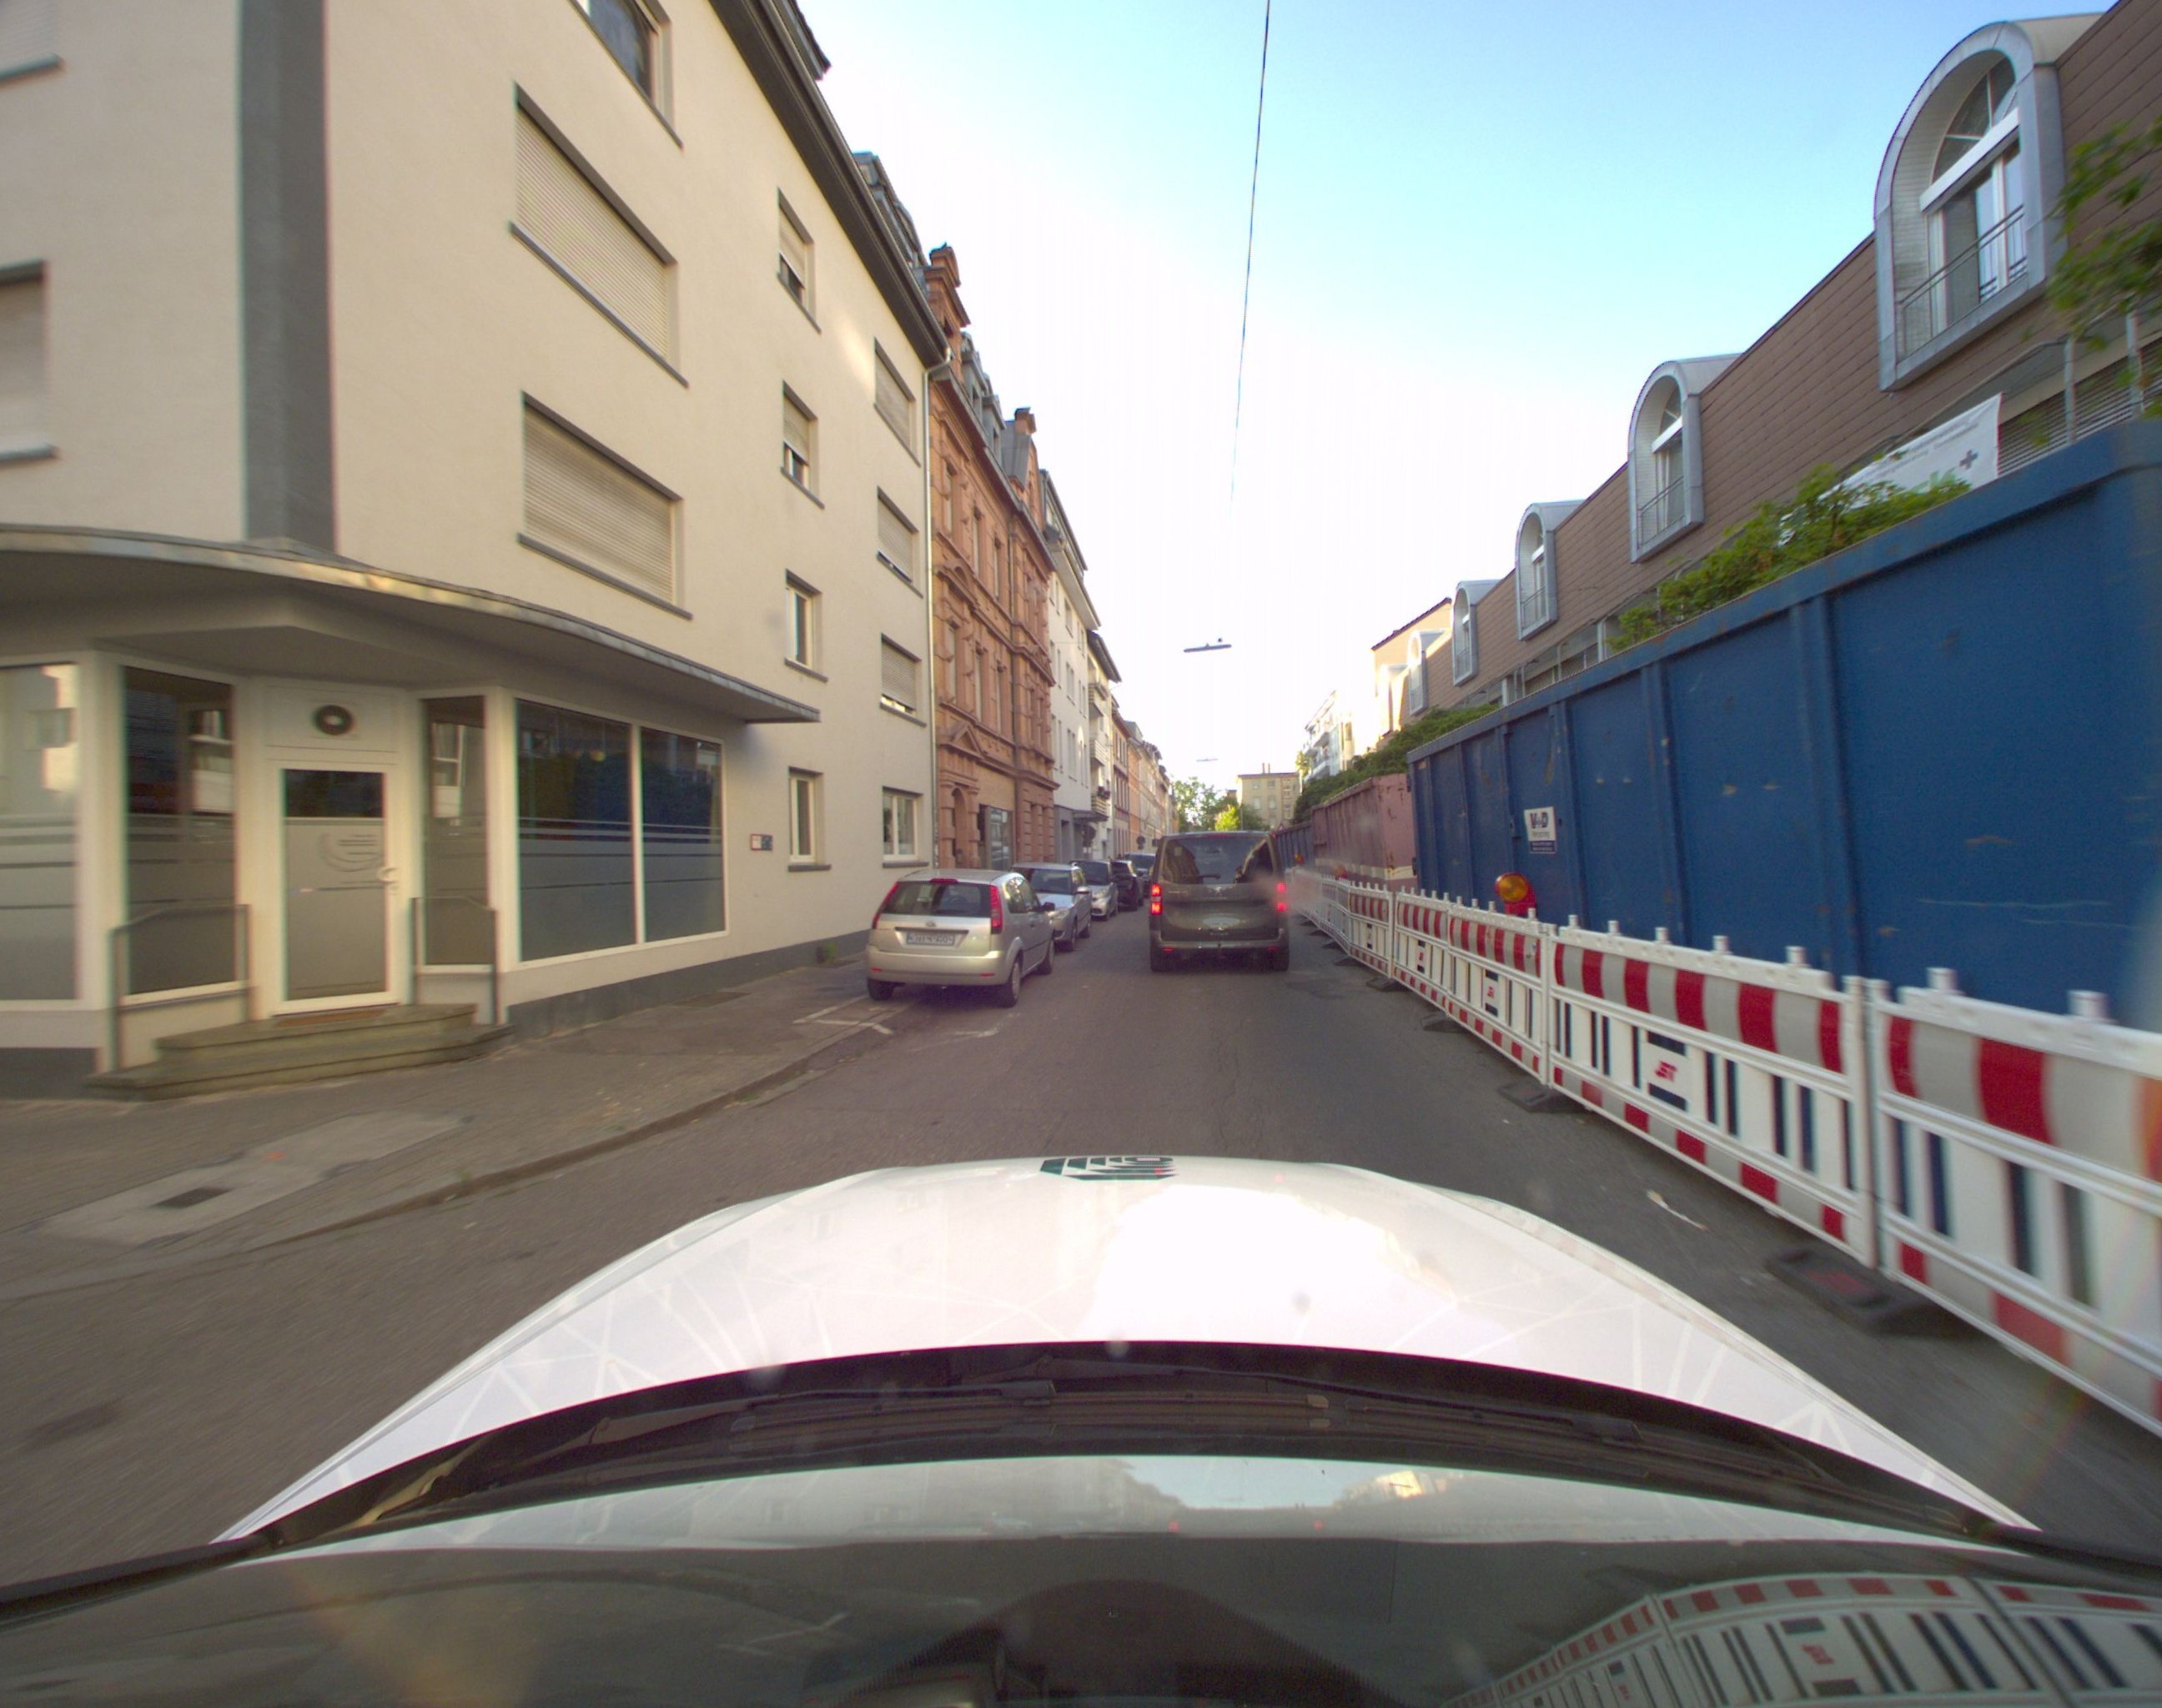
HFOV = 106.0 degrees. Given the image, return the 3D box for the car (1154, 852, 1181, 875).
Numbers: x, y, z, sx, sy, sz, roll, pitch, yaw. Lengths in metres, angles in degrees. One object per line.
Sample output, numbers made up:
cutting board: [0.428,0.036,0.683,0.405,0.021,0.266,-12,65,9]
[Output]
car: [5.879,0.609,54.900,1.648,1.448,3.293,2,0,8]

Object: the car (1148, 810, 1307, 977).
car: [2.123,0.493,12.243,1.847,2.013,4.009,-3,0,8]

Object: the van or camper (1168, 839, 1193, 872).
van or camper: [8.674,0.123,71.143,1.939,2.649,7.155,-3,0,7]

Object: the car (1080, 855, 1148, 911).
car: [1.129,0.860,26.063,1.730,1.599,4.024,-1,0,8]

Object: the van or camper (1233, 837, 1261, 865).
van or camper: [16.358,-0.288,80.473,2.088,2.602,7.528,-3,0,7]

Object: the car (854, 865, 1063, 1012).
car: [-1.310,0.897,10.172,1.623,1.430,3.563,-1,0,7]

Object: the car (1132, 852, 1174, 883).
car: [3.964,0.707,44.514,1.657,1.485,3.619,3,1,14]

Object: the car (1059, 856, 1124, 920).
car: [0.342,0.889,22.284,1.388,1.588,2.800,-2,0,8]

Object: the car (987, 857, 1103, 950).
car: [-0.570,0.848,15.651,1.546,1.508,3.606,1,0,8]

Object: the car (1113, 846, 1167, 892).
car: [2.626,0.593,35.169,1.982,1.858,4.595,-1,0,8]

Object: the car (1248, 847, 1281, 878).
car: [10.668,0.476,47.515,1.737,1.683,4.539,-1,0,11]

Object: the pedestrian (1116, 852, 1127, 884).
pedestrian: [2.116,0.725,42.486,0.492,1.638,0.667,0,0,9]

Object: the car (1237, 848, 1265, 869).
car: [13.412,0.337,64.584,1.713,1.612,4.597,-2,0,6]
